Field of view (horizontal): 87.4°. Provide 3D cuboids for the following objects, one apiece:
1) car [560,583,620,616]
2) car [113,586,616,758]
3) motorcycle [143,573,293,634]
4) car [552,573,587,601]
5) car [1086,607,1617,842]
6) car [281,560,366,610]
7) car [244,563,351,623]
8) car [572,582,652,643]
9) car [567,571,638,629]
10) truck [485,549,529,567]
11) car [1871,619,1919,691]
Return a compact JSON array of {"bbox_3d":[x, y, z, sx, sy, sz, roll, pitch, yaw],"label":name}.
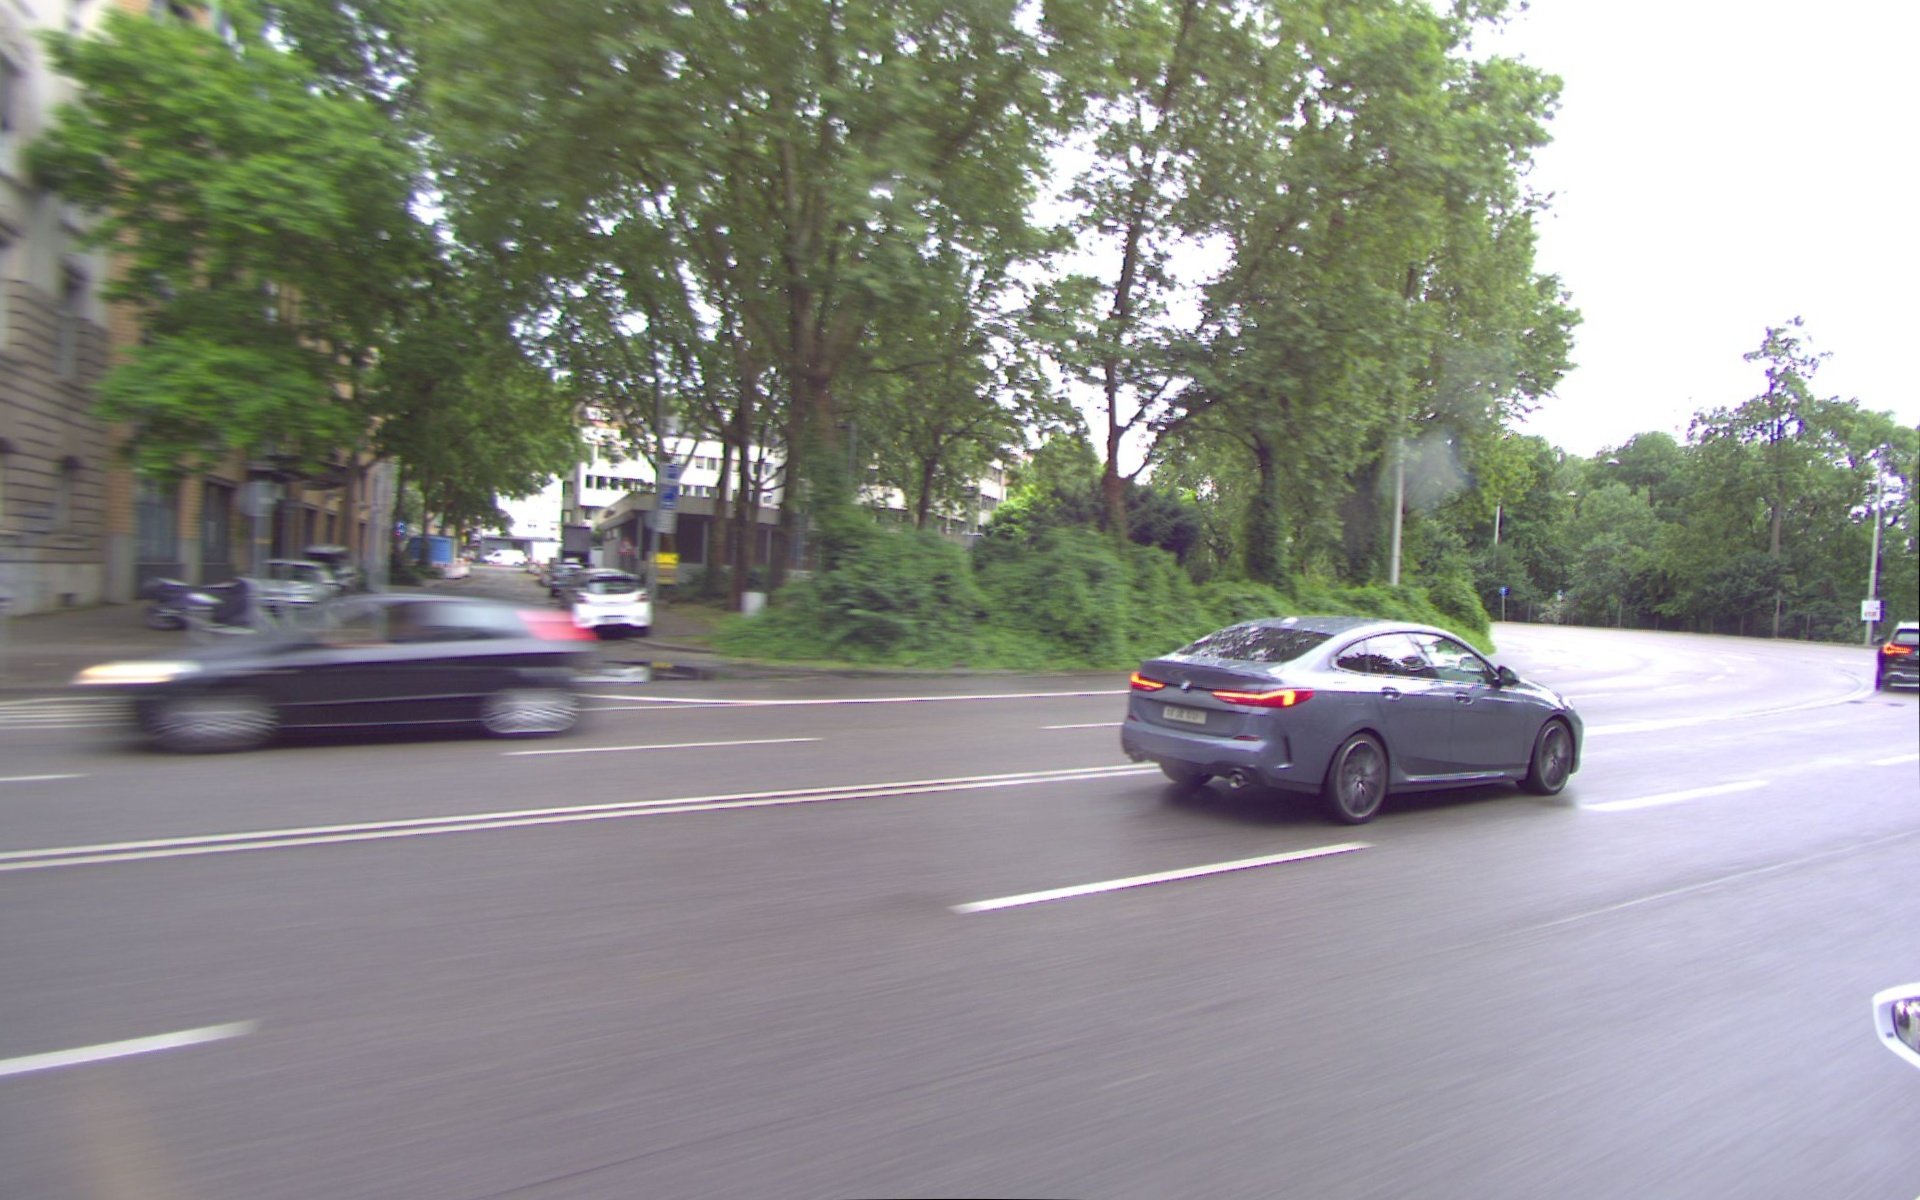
[{"bbox_3d":[-12.458,-0.026,33.748,1.753,1.039,3.486,0,1,-23],"label":"car"},{"bbox_3d":[-5.543,0.605,9.768,3.872,1.357,1.692,1,1,-32],"label":"car"},{"bbox_3d":[-15.004,0.083,20.388,2.364,1.157,0.501,2,1,-29],"label":"motorcycle"},{"bbox_3d":[-18.260,-0.596,46.892,1.475,1.223,3.486,0,1,-22],"label":"car"},{"bbox_3d":[3.325,0.839,8.221,4.488,1.434,1.656,1,1,-32],"label":"car"},{"bbox_3d":[-19.606,-0.497,31.075,1.671,1.380,3.975,2,2,-25],"label":"car"},{"bbox_3d":[-16.990,-0.215,25.925,1.671,1.380,3.975,2,2,-25],"label":"car"},{"bbox_3d":[-8.676,0.264,25.001,1.752,1.394,3.489,0,1,-20],"label":"car"},{"bbox_3d":[-10.317,-0.021,28.836,1.753,1.532,3.804,0,1,-23],"label":"car"},{"bbox_3d":[-56.488,-5.202,125.239,4.761,2.041,1.985,2,2,-29],"label":"truck"},{"bbox_3d":[23.647,1.312,24.430,4.380,1.607,1.741,1,2,-43],"label":"car"}]
